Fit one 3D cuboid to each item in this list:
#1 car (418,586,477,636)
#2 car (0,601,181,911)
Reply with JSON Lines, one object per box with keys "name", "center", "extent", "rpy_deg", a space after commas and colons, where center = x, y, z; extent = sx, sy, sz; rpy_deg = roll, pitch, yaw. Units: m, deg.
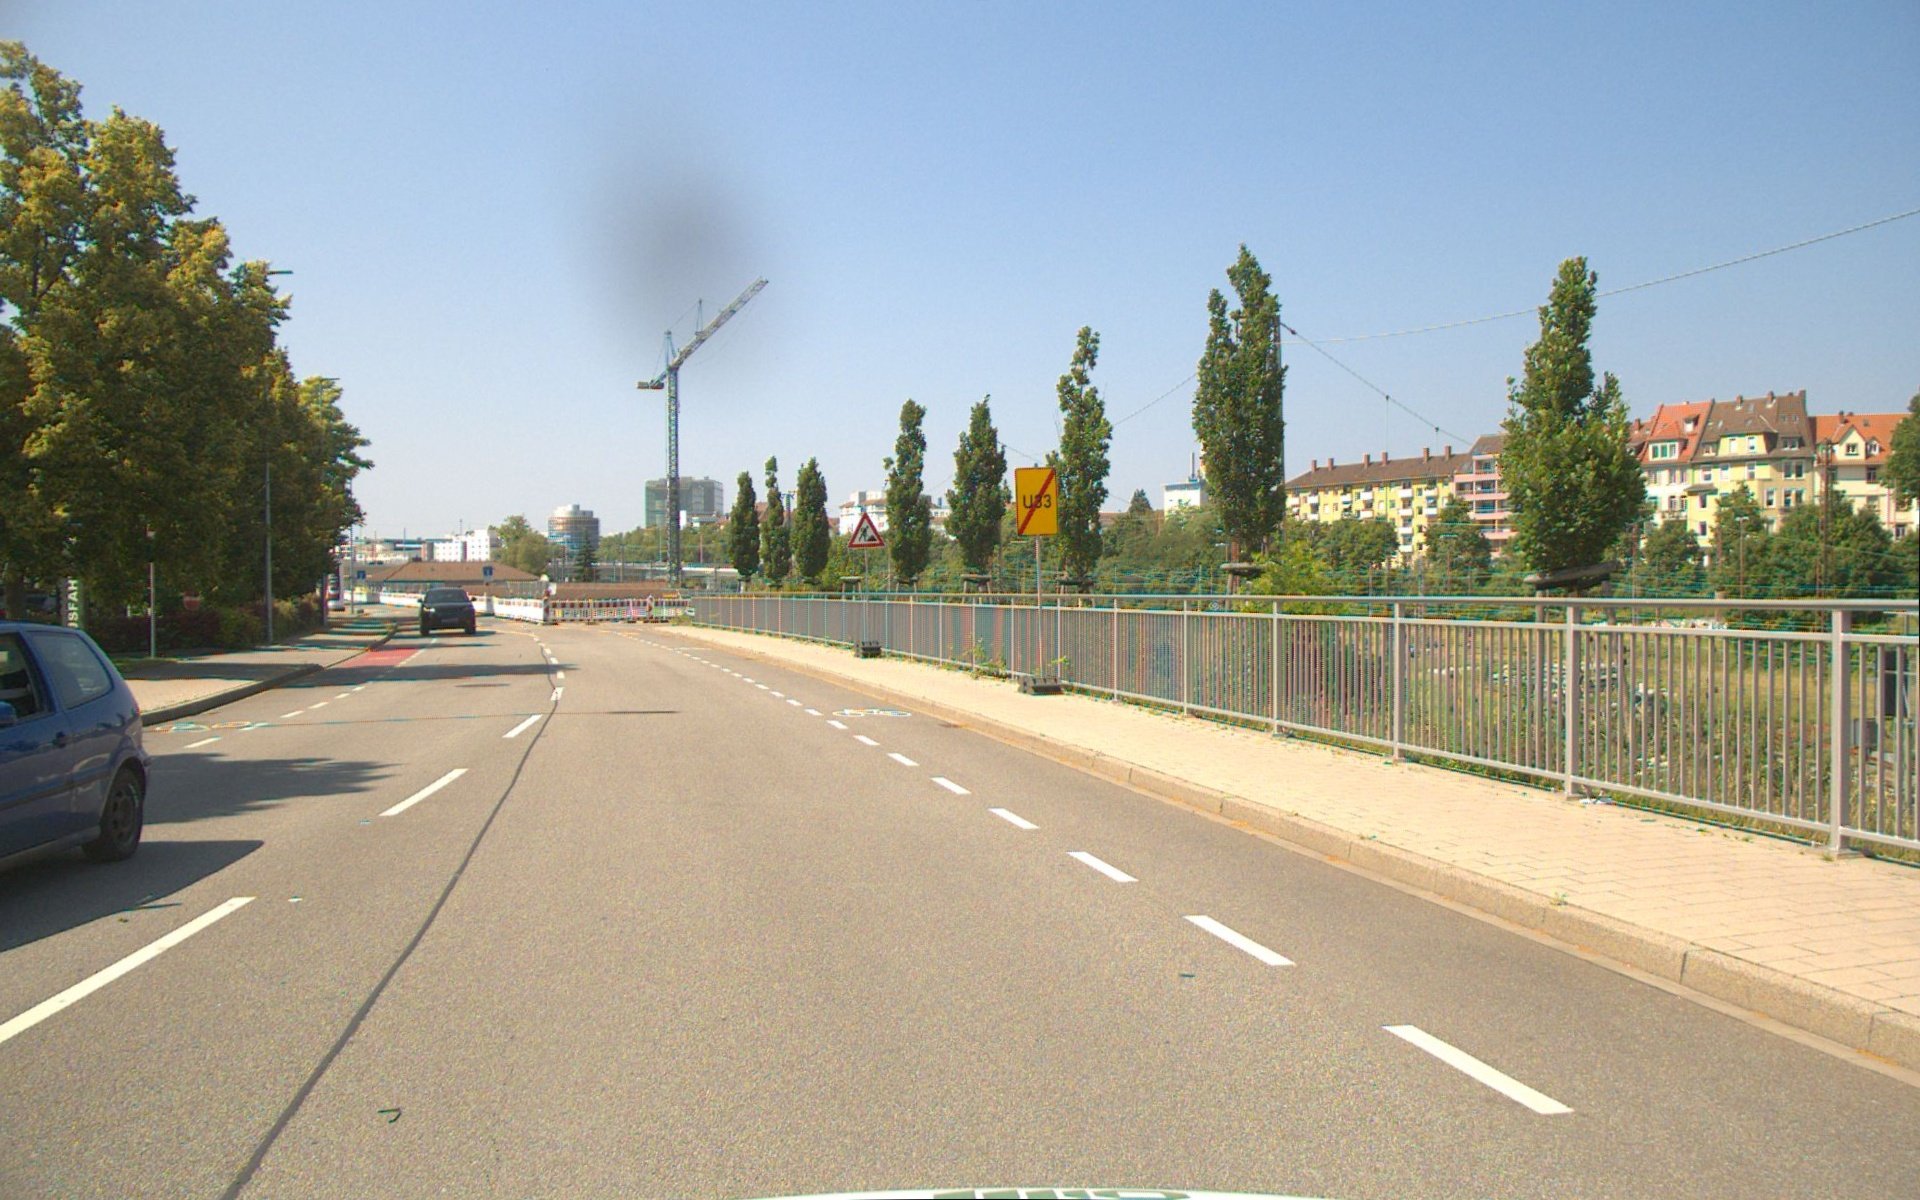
{"name": "car", "center": [-19.018, 0.359, 61.289], "extent": [1.921, 1.725, 4.587], "rpy_deg": [-1, 1, -19]}
{"name": "car", "center": [-5.340, 0.752, 8.030], "extent": [1.624, 1.405, 3.994], "rpy_deg": [-1, 1, -7]}
